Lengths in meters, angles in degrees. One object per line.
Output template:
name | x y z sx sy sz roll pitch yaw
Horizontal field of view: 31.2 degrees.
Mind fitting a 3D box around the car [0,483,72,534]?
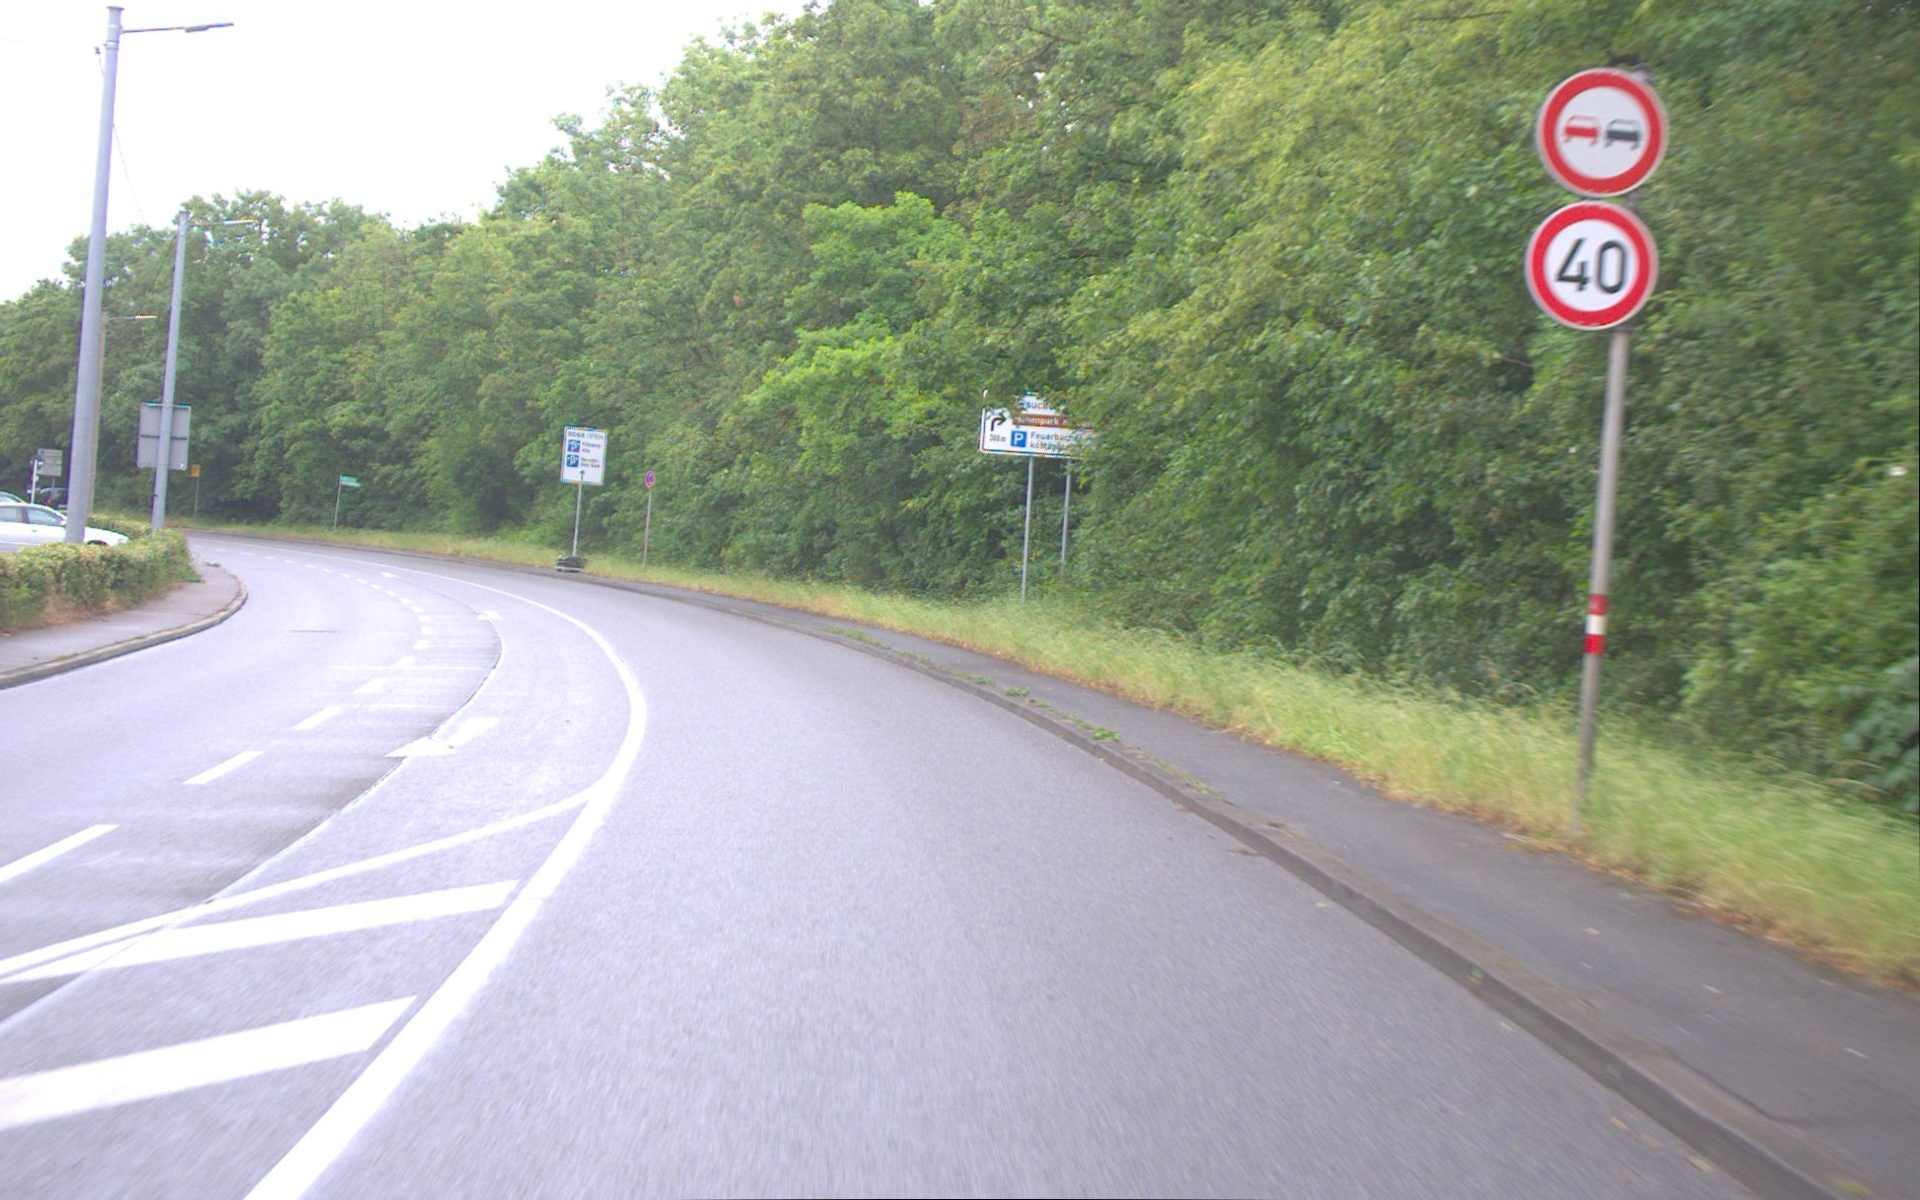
car | -34.054 -3.325 123.068 4.289 1.702 2.001 3 1 -15

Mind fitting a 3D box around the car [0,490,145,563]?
car | -21.080 -1.725 78.560 4.573 1.501 2.001 2 1 -18

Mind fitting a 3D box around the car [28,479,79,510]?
car | -47.924 -5.580 181.677 1.934 1.493 4.319 2 1 -24
